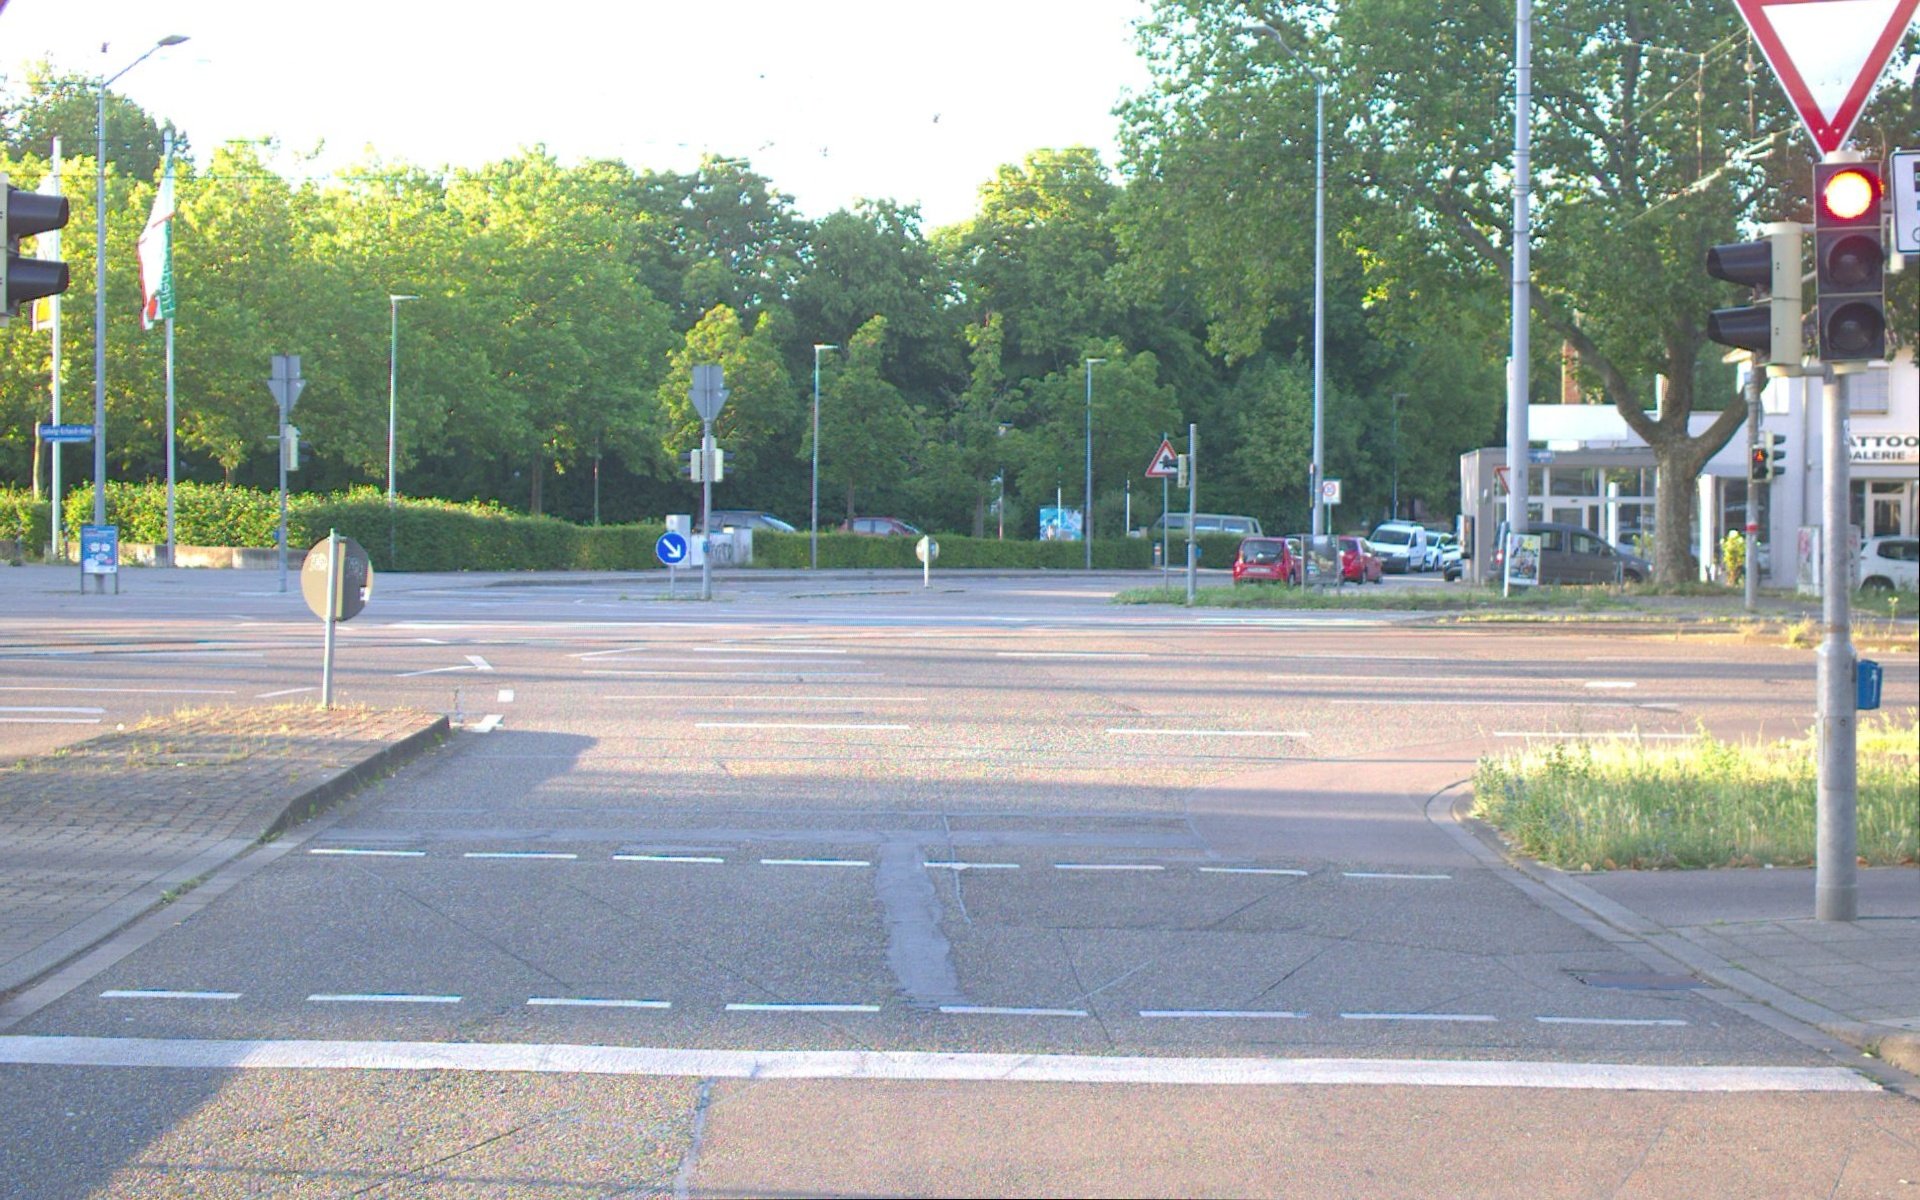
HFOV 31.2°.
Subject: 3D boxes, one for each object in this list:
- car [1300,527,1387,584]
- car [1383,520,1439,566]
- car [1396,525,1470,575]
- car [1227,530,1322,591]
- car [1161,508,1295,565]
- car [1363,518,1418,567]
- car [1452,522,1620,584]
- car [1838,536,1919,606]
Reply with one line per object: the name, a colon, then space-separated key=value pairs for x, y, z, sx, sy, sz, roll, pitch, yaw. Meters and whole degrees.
car: x=11.554 y=-1.331 z=103.370 sx=1.995 sy=1.656 sz=3.997 roll=1 pitch=0 yaw=15
car: x=17.880 y=-2.245 z=136.080 sx=1.864 sy=1.788 sz=3.998 roll=1 pitch=0 yaw=12
car: x=15.919 y=-1.670 z=115.595 sx=1.995 sy=1.656 sz=3.997 roll=1 pitch=0 yaw=15
car: x=8.773 y=-1.092 z=95.684 sx=1.995 sy=1.656 sz=3.997 roll=1 pitch=0 yaw=15
car: x=9.780 y=-2.311 z=125.871 sx=4.774 sy=1.999 sz=2.000 roll=0 pitch=0 yaw=2
car: x=16.425 y=-2.182 z=131.186 sx=1.864 sy=1.788 sz=3.998 roll=1 pitch=0 yaw=10
car: x=14.909 y=-1.210 z=89.165 sx=4.220 sy=1.547 sz=1.999 roll=1 pitch=0 yaw=7
car: x=20.474 y=-0.600 z=72.303 sx=3.741 sy=1.435 sz=1.663 roll=1 pitch=0 yaw=9
